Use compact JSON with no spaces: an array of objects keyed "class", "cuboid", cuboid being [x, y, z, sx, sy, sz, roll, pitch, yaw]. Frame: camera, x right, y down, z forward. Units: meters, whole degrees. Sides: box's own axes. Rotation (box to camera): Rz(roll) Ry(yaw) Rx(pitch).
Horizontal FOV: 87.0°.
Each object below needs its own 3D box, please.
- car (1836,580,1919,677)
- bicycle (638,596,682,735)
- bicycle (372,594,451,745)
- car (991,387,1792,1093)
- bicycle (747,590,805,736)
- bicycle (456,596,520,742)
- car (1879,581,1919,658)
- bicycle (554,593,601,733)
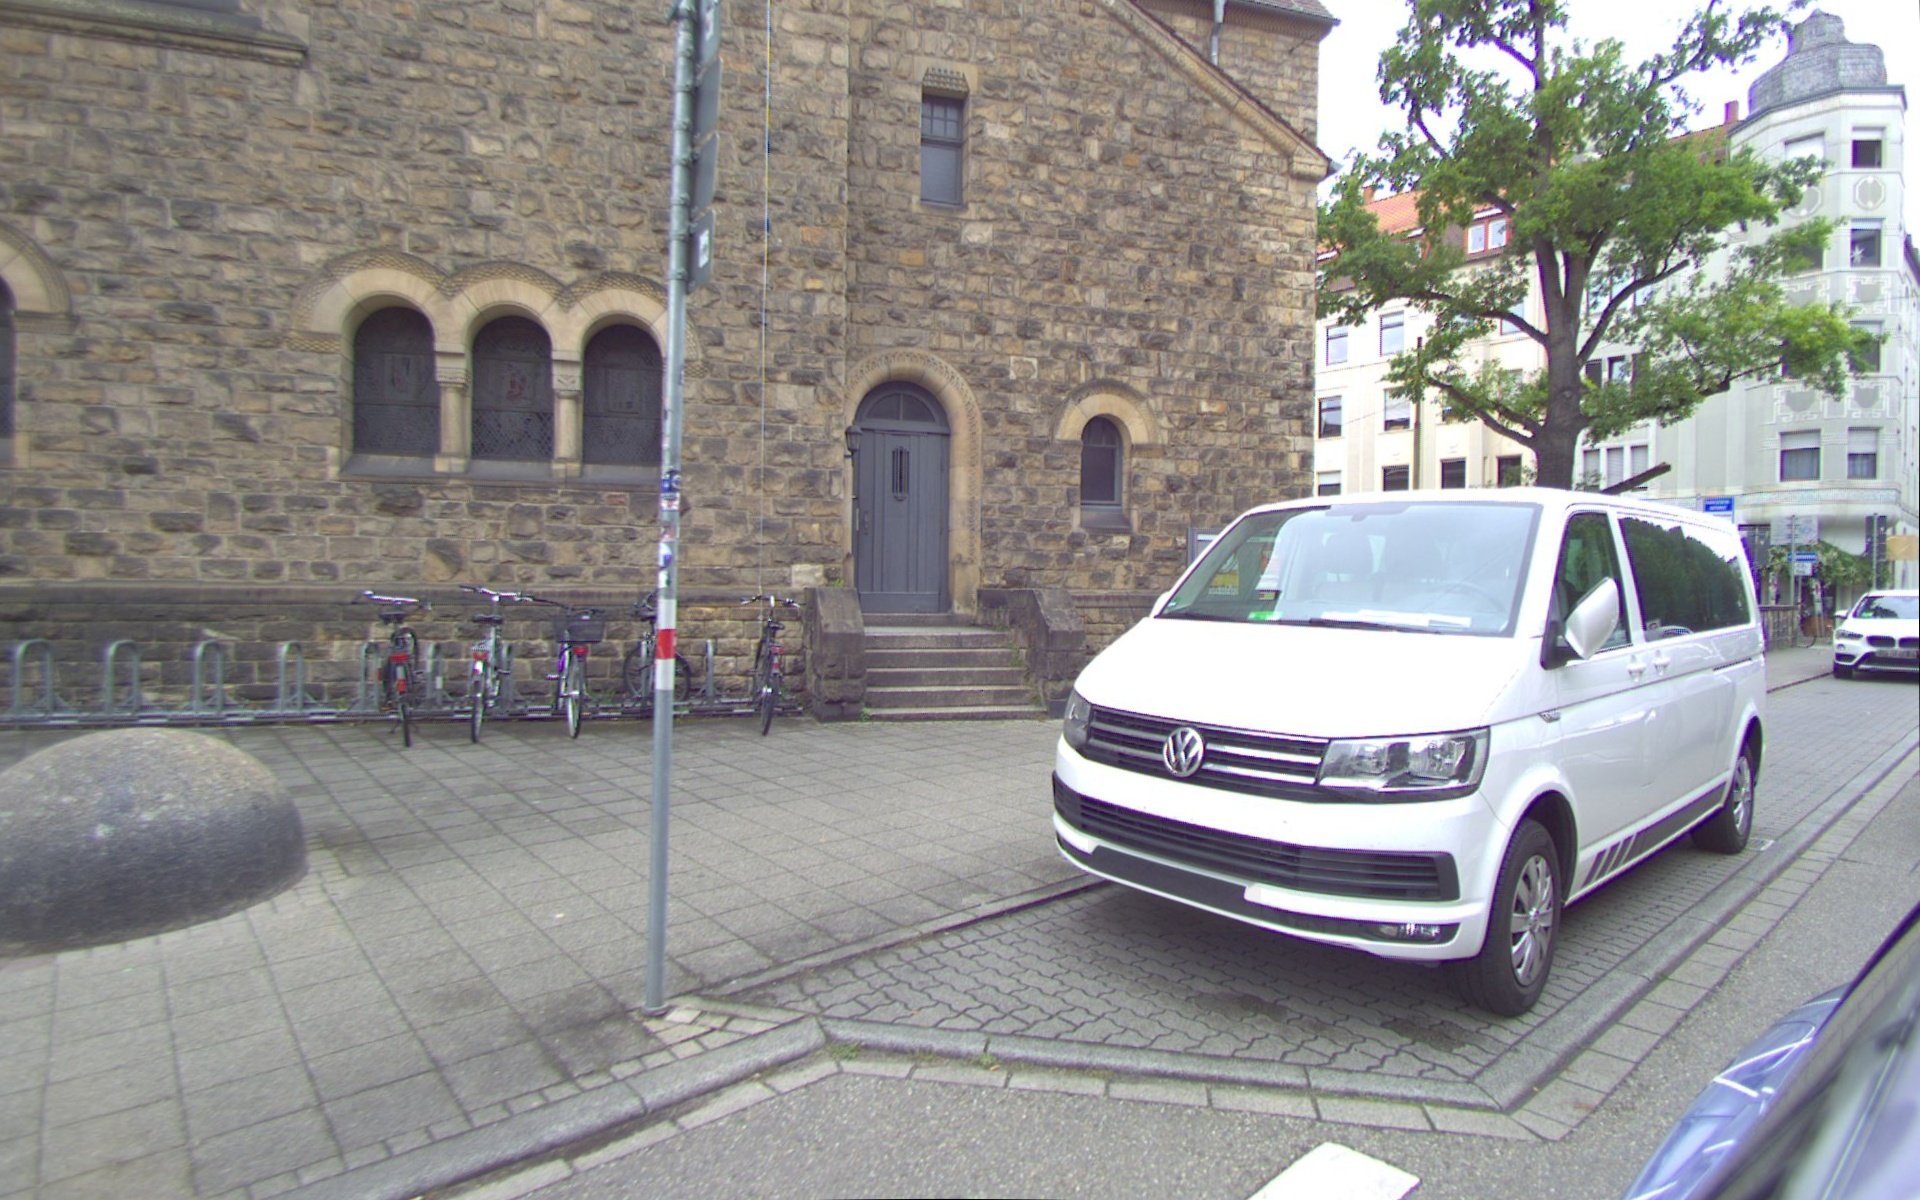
[{"class":"car","cuboid":[17.221,0.463,18.090,3.930,1.585,1.819,0,1,-41]},{"class":"bicycle","cuboid":[-2.577,0.518,8.649,0.304,1.073,1.346,1,1,-18]},{"class":"bicycle","cuboid":[-4.339,0.503,8.054,0.304,1.073,1.386,1,1,-18]},{"class":"car","cuboid":[2.610,0.362,5.169,5.075,1.944,1.808,0,1,-42]},{"class":"bicycle","cuboid":[-1.620,0.499,8.827,0.304,1.161,1.346,1,1,-18]},{"class":"bicycle","cuboid":[-3.838,0.512,8.272,0.304,1.073,1.386,1,1,-18]},{"class":"car","cuboid":[21.553,0.409,22.031,3.930,1.585,1.819,0,1,-41]},{"class":"bicycle","cuboid":[-3.234,0.490,8.599,0.304,1.073,1.386,1,1,-18]}]
